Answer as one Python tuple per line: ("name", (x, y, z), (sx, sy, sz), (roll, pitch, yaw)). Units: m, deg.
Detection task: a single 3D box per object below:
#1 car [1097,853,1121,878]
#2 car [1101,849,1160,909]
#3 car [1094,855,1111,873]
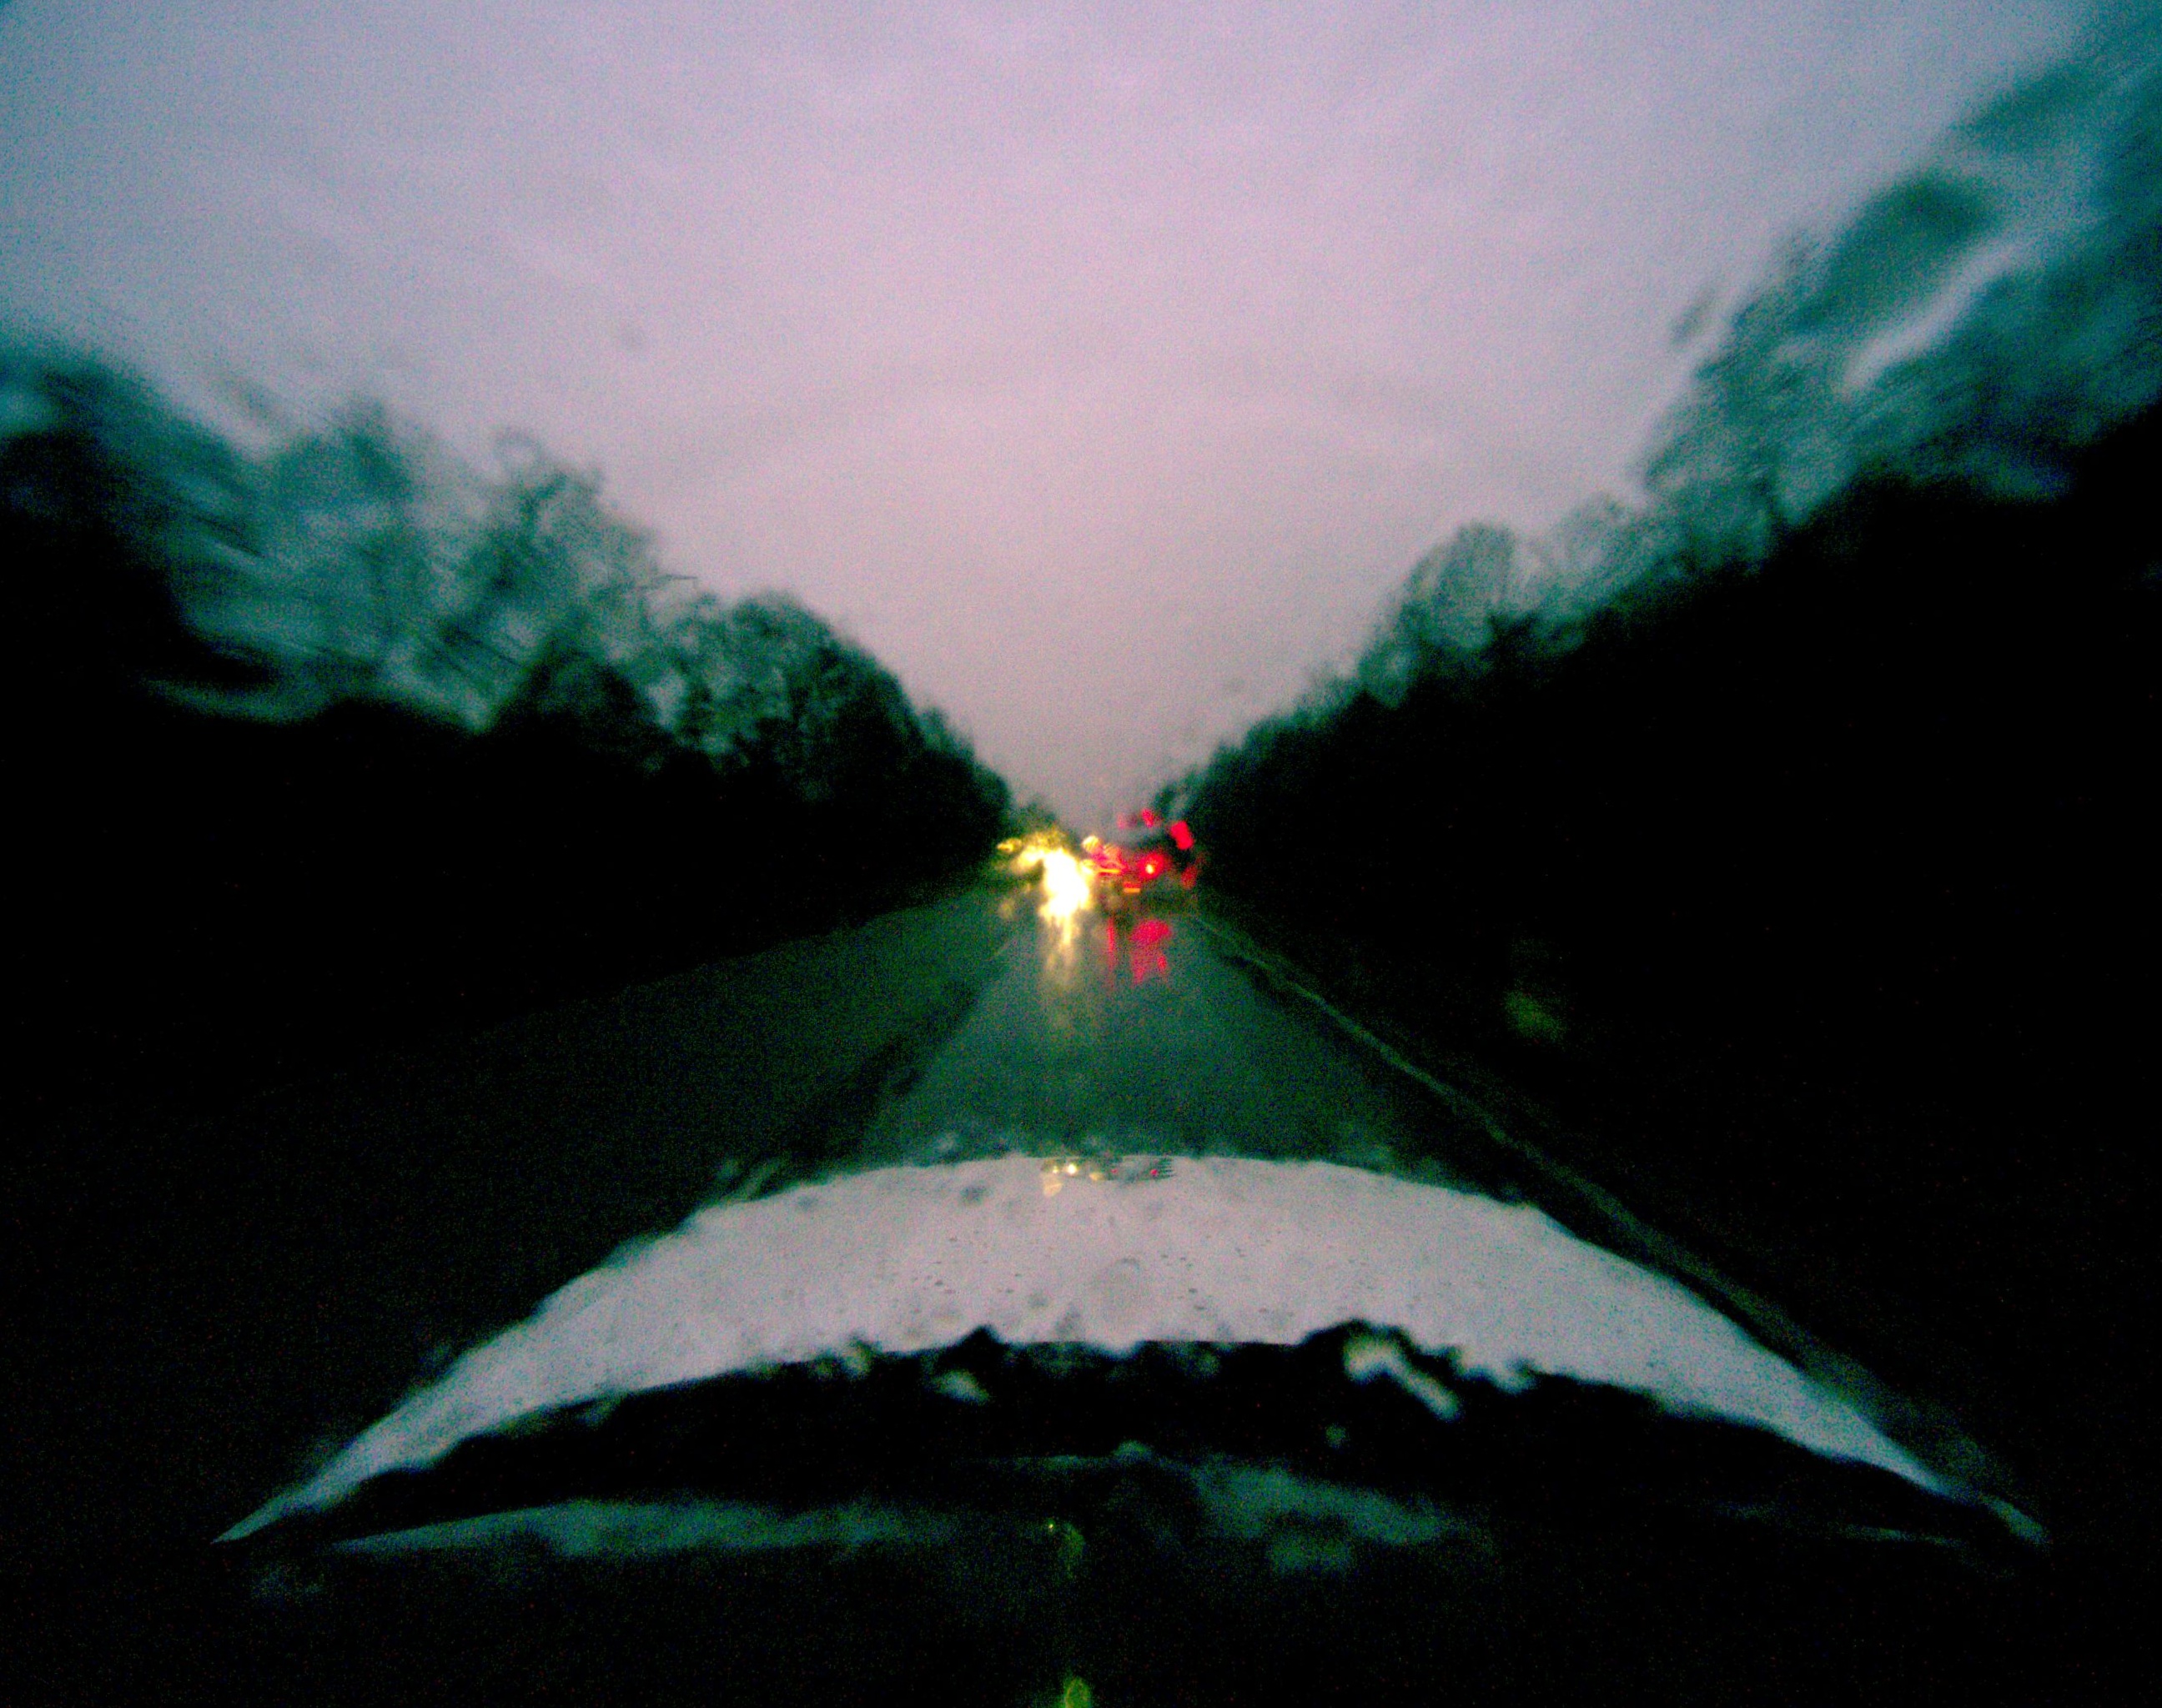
("car", (2.100, 0.826, 60.918), (1.727, 1.779, 4.001), (-1, 0, 1))
("car", (1.523, 0.720, 24.975), (1.641, 1.672, 3.517), (-1, 0, 4))
("car", (2.261, 1.041, 85.621), (1.727, 1.779, 4.001), (-1, 0, 1))
